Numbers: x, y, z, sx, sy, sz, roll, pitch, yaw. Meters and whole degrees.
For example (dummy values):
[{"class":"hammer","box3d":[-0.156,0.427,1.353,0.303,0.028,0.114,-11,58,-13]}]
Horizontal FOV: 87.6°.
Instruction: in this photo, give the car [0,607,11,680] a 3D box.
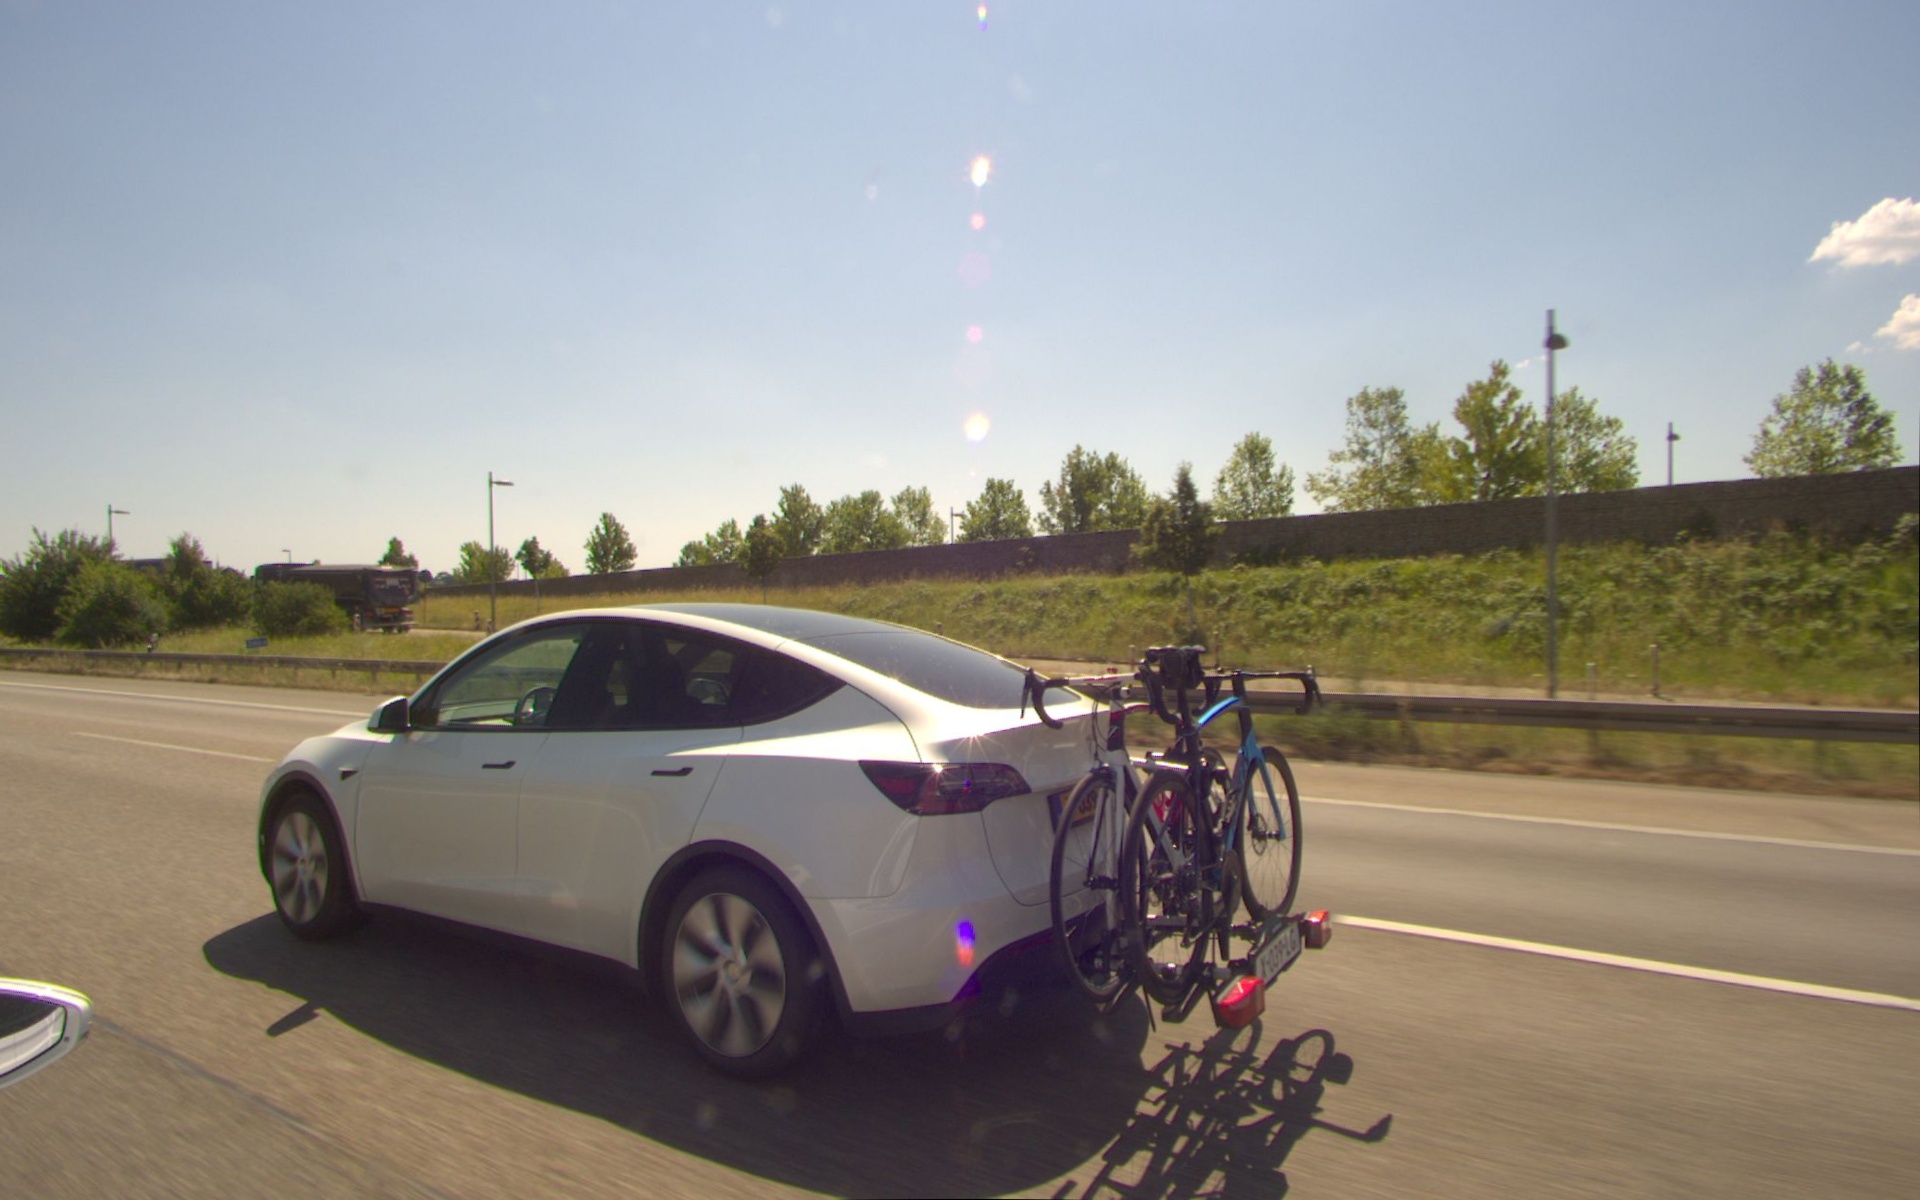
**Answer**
[{"class":"car","box3d":[-26.510,1.139,25.811,4.117,1.862,1.947,-1,0,31]}]

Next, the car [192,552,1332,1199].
[{"class":"car","box3d":[-1.305,0.781,4.773,5.520,1.657,1.947,-1,-2,32]}]

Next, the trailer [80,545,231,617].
[{"class":"trailer","box3d":[-52.180,-1.072,64.718,14.052,4.135,3.048,-1,-2,32]}]

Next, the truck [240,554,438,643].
[{"class":"truck","box3d":[-32.268,0.102,51.781,12.342,4.135,3.782,-1,-2,33]}]
